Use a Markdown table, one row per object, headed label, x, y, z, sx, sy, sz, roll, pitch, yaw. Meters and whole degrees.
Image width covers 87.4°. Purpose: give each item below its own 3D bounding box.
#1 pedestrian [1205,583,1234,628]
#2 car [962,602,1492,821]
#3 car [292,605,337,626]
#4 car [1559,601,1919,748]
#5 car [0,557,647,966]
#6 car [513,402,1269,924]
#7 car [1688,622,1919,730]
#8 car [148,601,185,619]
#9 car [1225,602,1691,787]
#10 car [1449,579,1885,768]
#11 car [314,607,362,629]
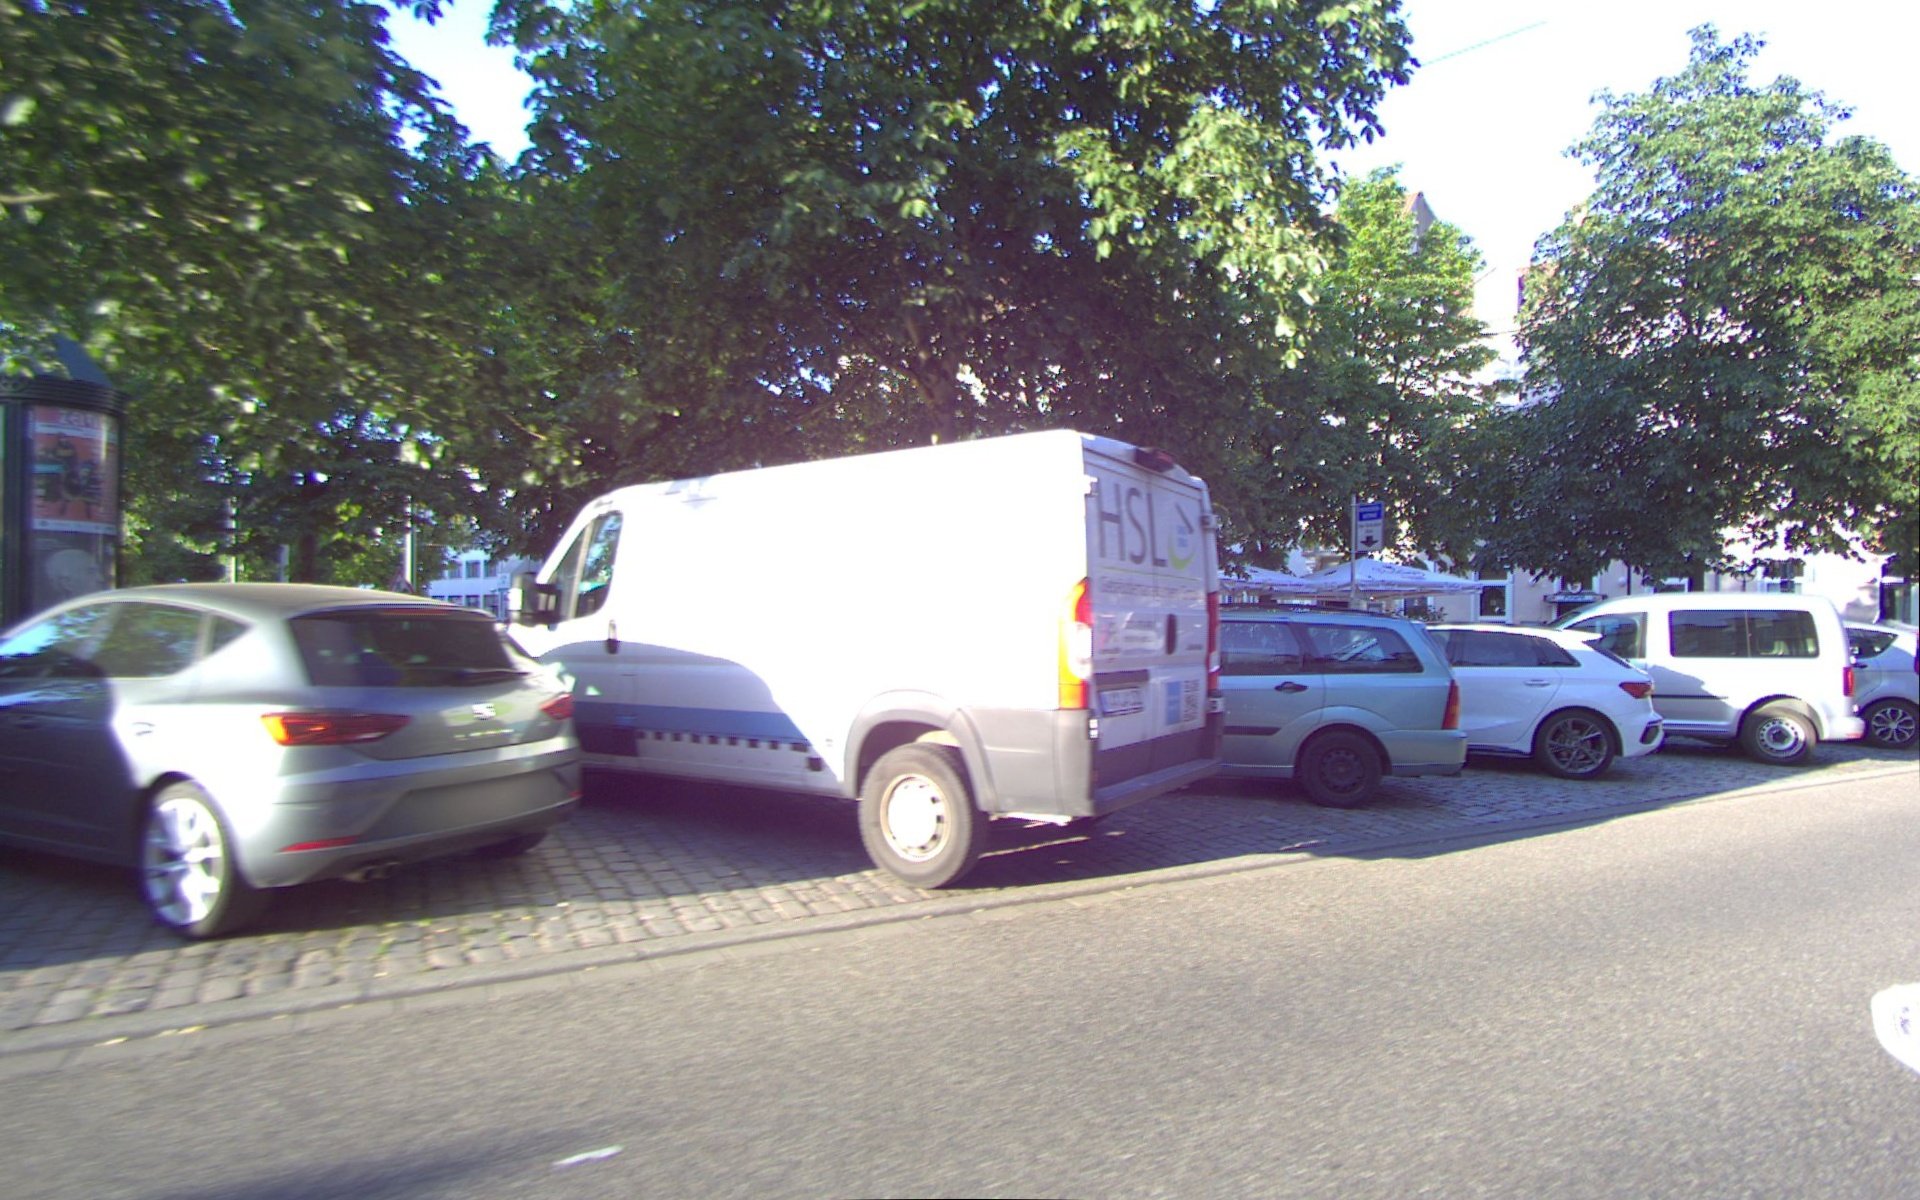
| label | x | y | z | sx | sy | sz | roll | pitch | yaw |
| --- | --- | --- | --- | --- | --- | --- | --- | --- | --- |
| pedestrian | 7.131 | 0.156 | 27.612 | 0.519 | 1.232 | 0.533 | 0 | -2 | -22 |
| car | 2.184 | 0.789 | 8.617 | 3.921 | 1.487 | 1.883 | 1 | 0 | 19 |
| car | -55.185 | 1.284 | 85.841 | 3.936 | 1.728 | 1.993 | 0 | -1 | 37 |
| car | 10.666 | 0.928 | 13.845 | 3.924 | 1.719 | 1.748 | 2 | 0 | 25 |
| car | -3.848 | 0.573 | 5.273 | 3.922 | 1.506 | 1.832 | 1 | 0 | 21 |
| car | -0.589 | 0.253 | 6.582 | 4.536 | 2.281 | 2.197 | 1 | 0 | 34 |
| car | 13.705 | 1.118 | 15.420 | 3.930 | 1.505 | 1.996 | 0 | -1 | 32 |
| car | -79.402 | 0.971 | 100.469 | 3.936 | 1.706 | 1.992 | 1 | 0 | 37 |
| car | 4.889 | 0.836 | 10.368 | 3.923 | 1.512 | 1.849 | 2 | 0 | 23 |
| car | 8.047 | 0.739 | 11.946 | 3.924 | 1.903 | 1.869 | 1 | 0 | 25 |
| car | -50.791 | 1.480 | 82.011 | 3.936 | 1.639 | 1.993 | 2 | 1 | 37 |
